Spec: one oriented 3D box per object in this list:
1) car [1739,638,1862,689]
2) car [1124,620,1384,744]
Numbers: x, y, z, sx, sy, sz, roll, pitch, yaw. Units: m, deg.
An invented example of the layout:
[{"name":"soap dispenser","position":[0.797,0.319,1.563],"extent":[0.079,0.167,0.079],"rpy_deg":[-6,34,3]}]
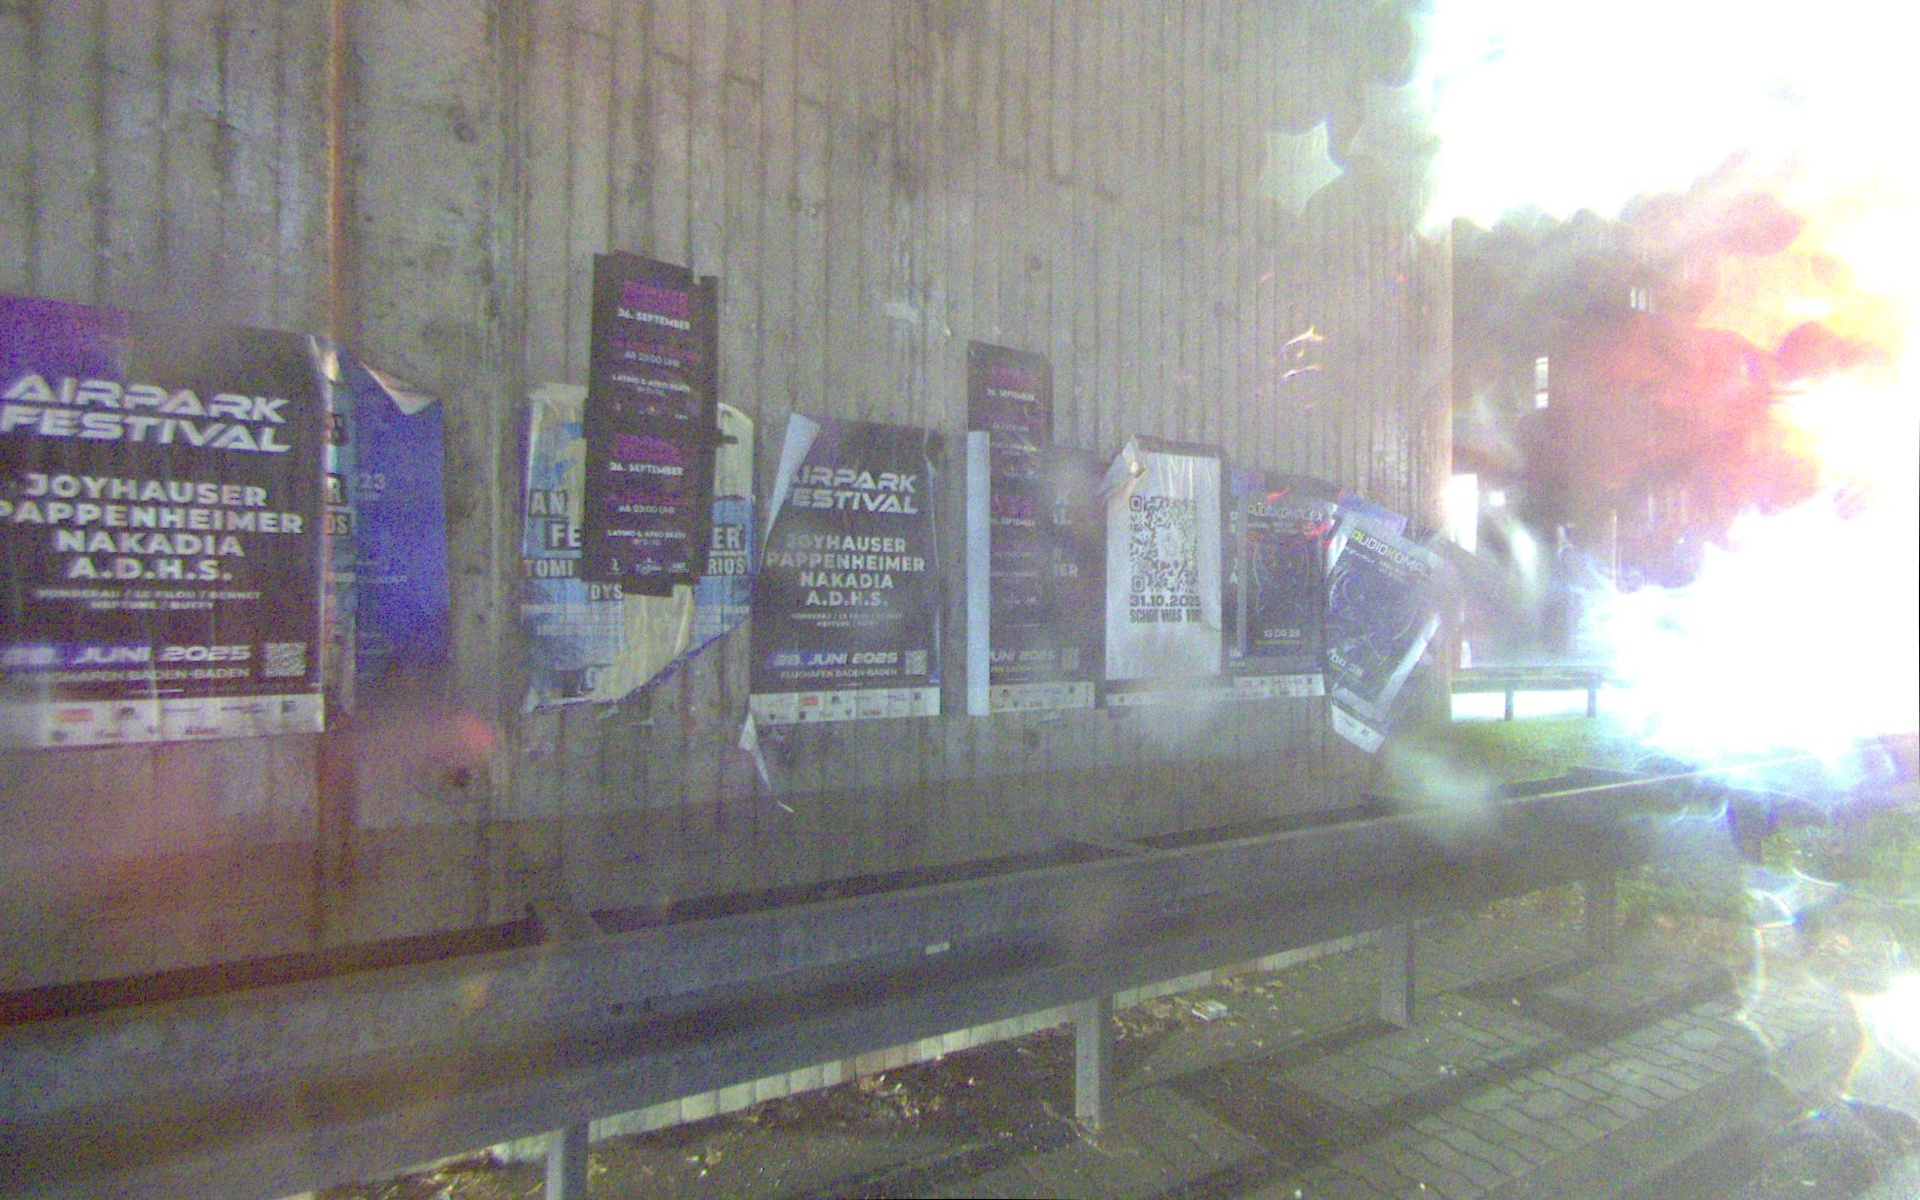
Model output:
[{"name":"car","position":[27.065,2.033,32.327],"extent":[3.953,1.483,1.816],"rpy_deg":[2,-1,-30]},{"name":"car","position":[4.248,1.105,14.374],"extent":[3.530,1.536,1.688],"rpy_deg":[2,-1,-33]}]
